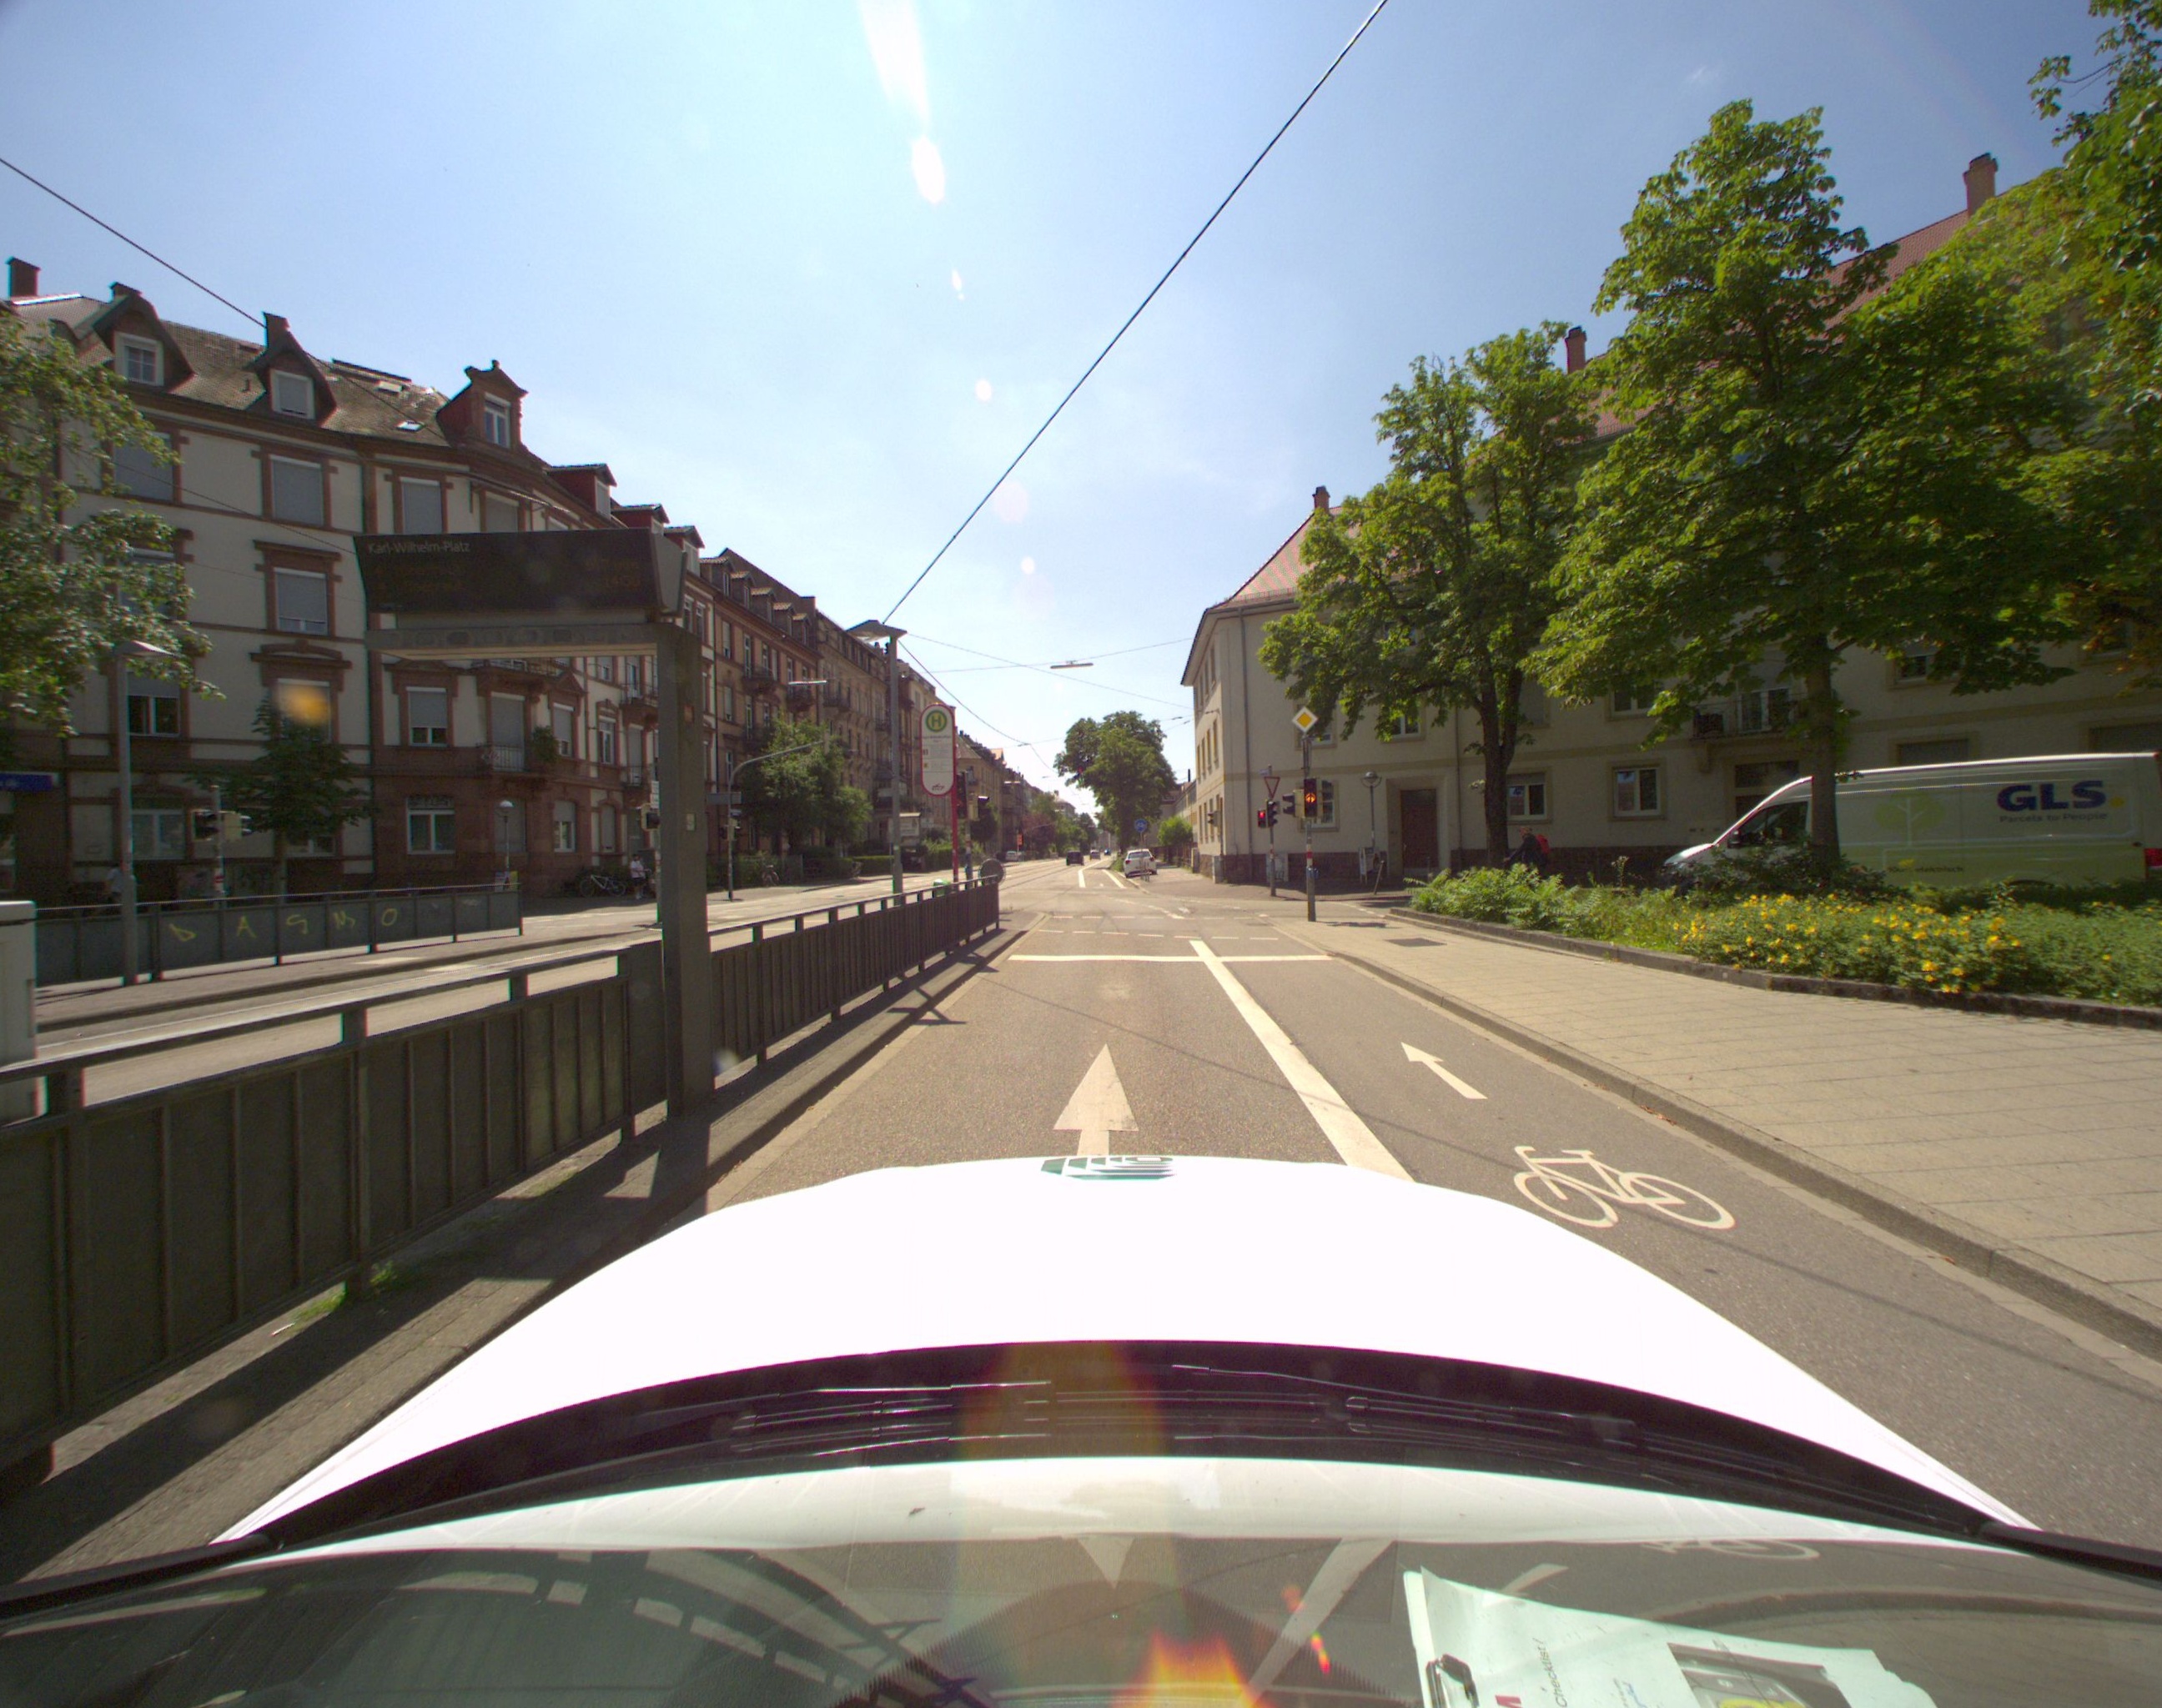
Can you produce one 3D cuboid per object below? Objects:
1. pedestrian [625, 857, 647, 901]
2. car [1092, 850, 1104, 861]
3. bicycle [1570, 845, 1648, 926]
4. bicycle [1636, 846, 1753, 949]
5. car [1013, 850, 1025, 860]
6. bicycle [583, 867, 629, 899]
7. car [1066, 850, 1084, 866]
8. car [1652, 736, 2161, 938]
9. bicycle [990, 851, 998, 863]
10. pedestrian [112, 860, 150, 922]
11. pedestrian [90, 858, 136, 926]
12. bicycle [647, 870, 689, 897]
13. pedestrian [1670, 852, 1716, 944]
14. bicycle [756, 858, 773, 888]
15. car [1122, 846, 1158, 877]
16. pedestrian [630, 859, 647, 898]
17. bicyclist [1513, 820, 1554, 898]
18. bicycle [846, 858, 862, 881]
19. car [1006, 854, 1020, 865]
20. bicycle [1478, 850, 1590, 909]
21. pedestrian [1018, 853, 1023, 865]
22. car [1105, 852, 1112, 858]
[{"bbox_3d":[-16.920,0.953,30.953,0.657,1.615,0.464,0,2,-40],"label":"pedestrian"},{"bbox_3d":[2.656,0.234,126.837,1.740,1.472,3.940,-5,0,2],"label":"car"},{"bbox_3d":[7.725,0.456,11.964,0.331,1.127,1.288,-1,-2,2],"label":"bicycle"},{"bbox_3d":[8.712,0.574,11.657,0.351,1.360,1.836,-1,0,3],"label":"bicycle"},{"bbox_3d":[-10.085,0.242,132.281,1.623,1.472,3.563,-5,0,0],"label":"car"},{"bbox_3d":[-18.706,1.124,32.108,1.528,1.169,0.360,-1,1,-43],"label":"bicycle"},{"bbox_3d":[-0.601,0.370,80.829,1.518,1.444,3.367,-3,0,3],"label":"car"},{"bbox_3d":[13.019,-0.193,13.224,2.009,2.590,5.785,-1,0,-37],"label":"car"},{"bbox_3d":[-10.310,0.386,96.381,0.575,1.388,2.502,-1,0,2],"label":"bicycle"},{"bbox_3d":[-27.558,1.049,23.636,0.508,1.768,0.525,-1,-1,-19],"label":"pedestrian"},{"bbox_3d":[-26.870,1.038,22.622,0.564,1.825,0.631,-1,-1,-19],"label":"pedestrian"},{"bbox_3d":[-16.147,1.149,31.886,1.409,1.013,0.385,1,-2,-38],"label":"bicycle"},{"bbox_3d":[8.716,0.617,11.604,0.365,1.284,0.350,-1,-1,2],"label":"pedestrian"},{"bbox_3d":[-15.110,0.892,38.873,0.617,1.395,2.289,-1,0,-24],"label":"bicycle"},{"bbox_3d":[3.202,0.389,44.892,1.740,1.472,3.940,-5,0,2],"label":"car"},{"bbox_3d":[-17.302,0.951,31.851,0.510,1.516,0.464,0,-1,-40],"label":"pedestrian"},{"bbox_3d":[9.840,0.113,17.695,0.687,1.646,0.584,-1,-1,36],"label":"bicyclist"},{"bbox_3d":[-13.627,0.923,48.890,0.594,1.356,2.421,-1,0,-24],"label":"bicycle"},{"bbox_3d":[-10.283,0.829,123.902,1.679,1.472,3.938,-5,0,0],"label":"car"},{"bbox_3d":[9.823,0.541,17.718,2.060,1.236,0.584,-1,-1,36],"label":"bicycle"},{"bbox_3d":[-8.771,0.793,118.126,0.675,1.727,0.678,-1,0,2],"label":"pedestrian"},{"bbox_3d":[7.239,0.302,213.149,1.623,1.472,3.563,-5,0,0],"label":"car"}]
